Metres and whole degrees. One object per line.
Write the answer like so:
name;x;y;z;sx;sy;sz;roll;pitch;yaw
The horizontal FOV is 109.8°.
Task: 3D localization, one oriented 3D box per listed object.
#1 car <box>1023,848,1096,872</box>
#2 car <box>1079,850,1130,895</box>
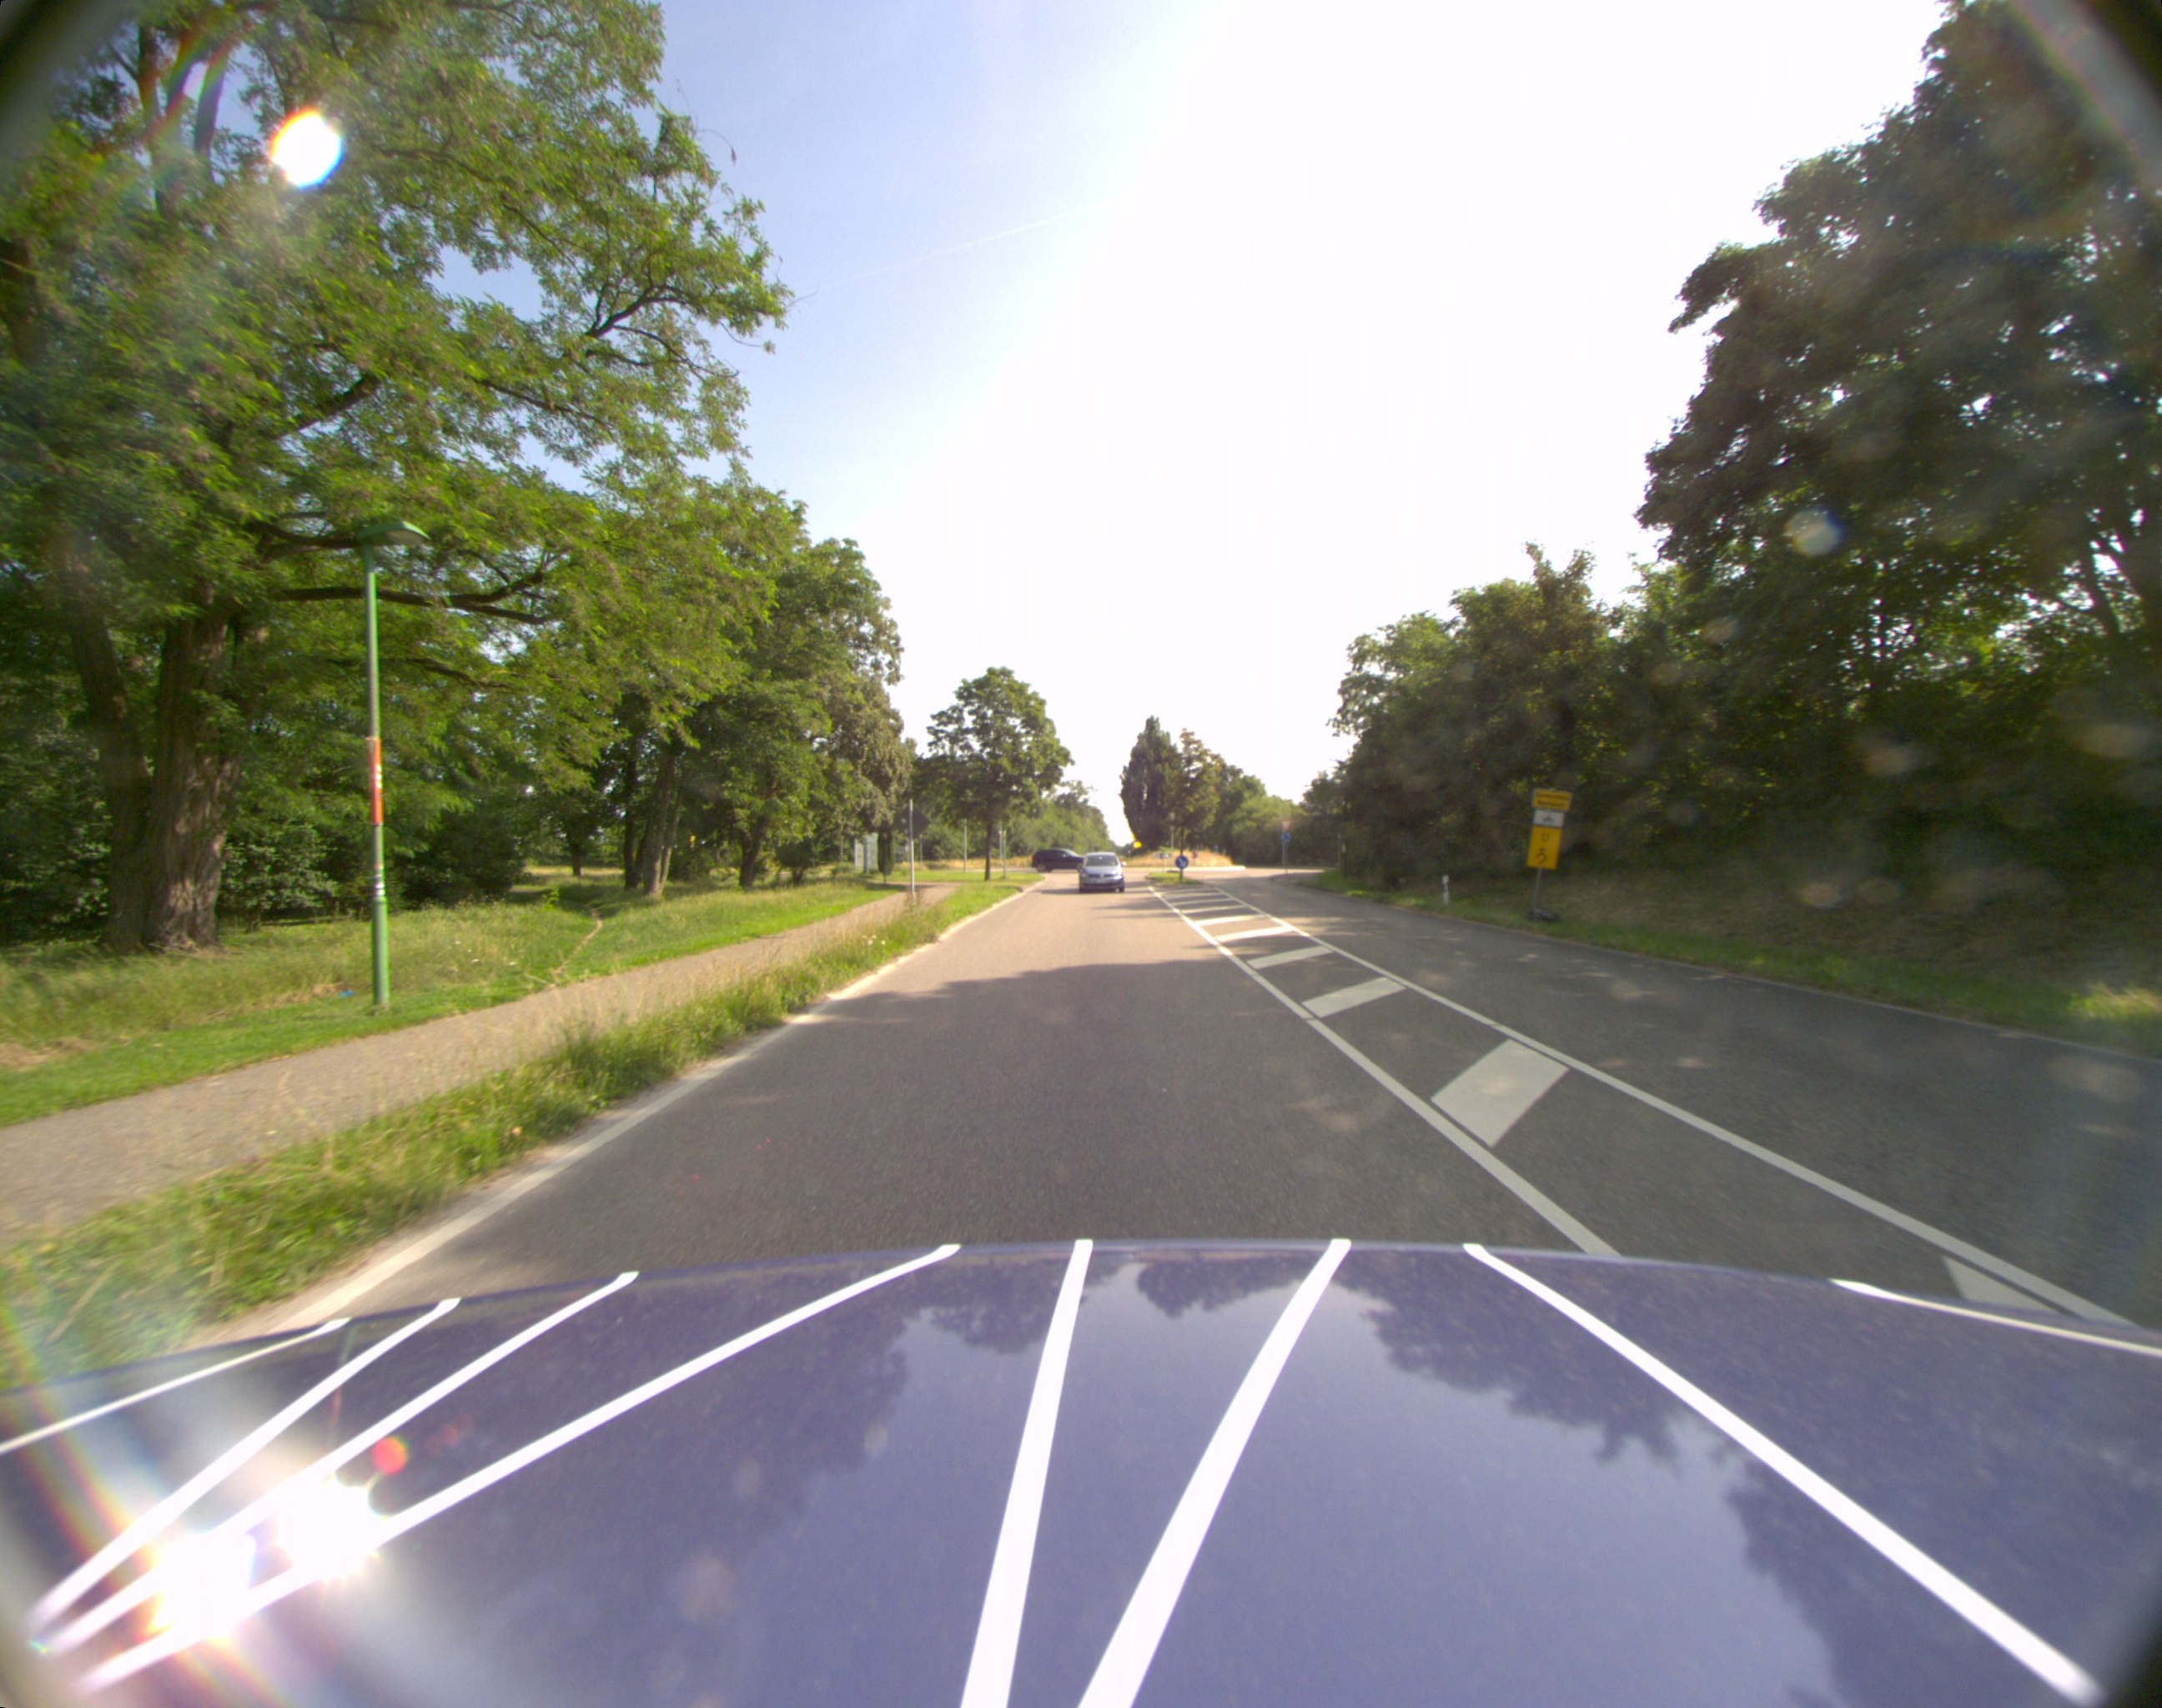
car;-1.468;0.389;52.054;4.612;1.592;1.955;0;1;15
car;0.952;0.660;29.685;1.808;1.592;4.270;0;1;3
